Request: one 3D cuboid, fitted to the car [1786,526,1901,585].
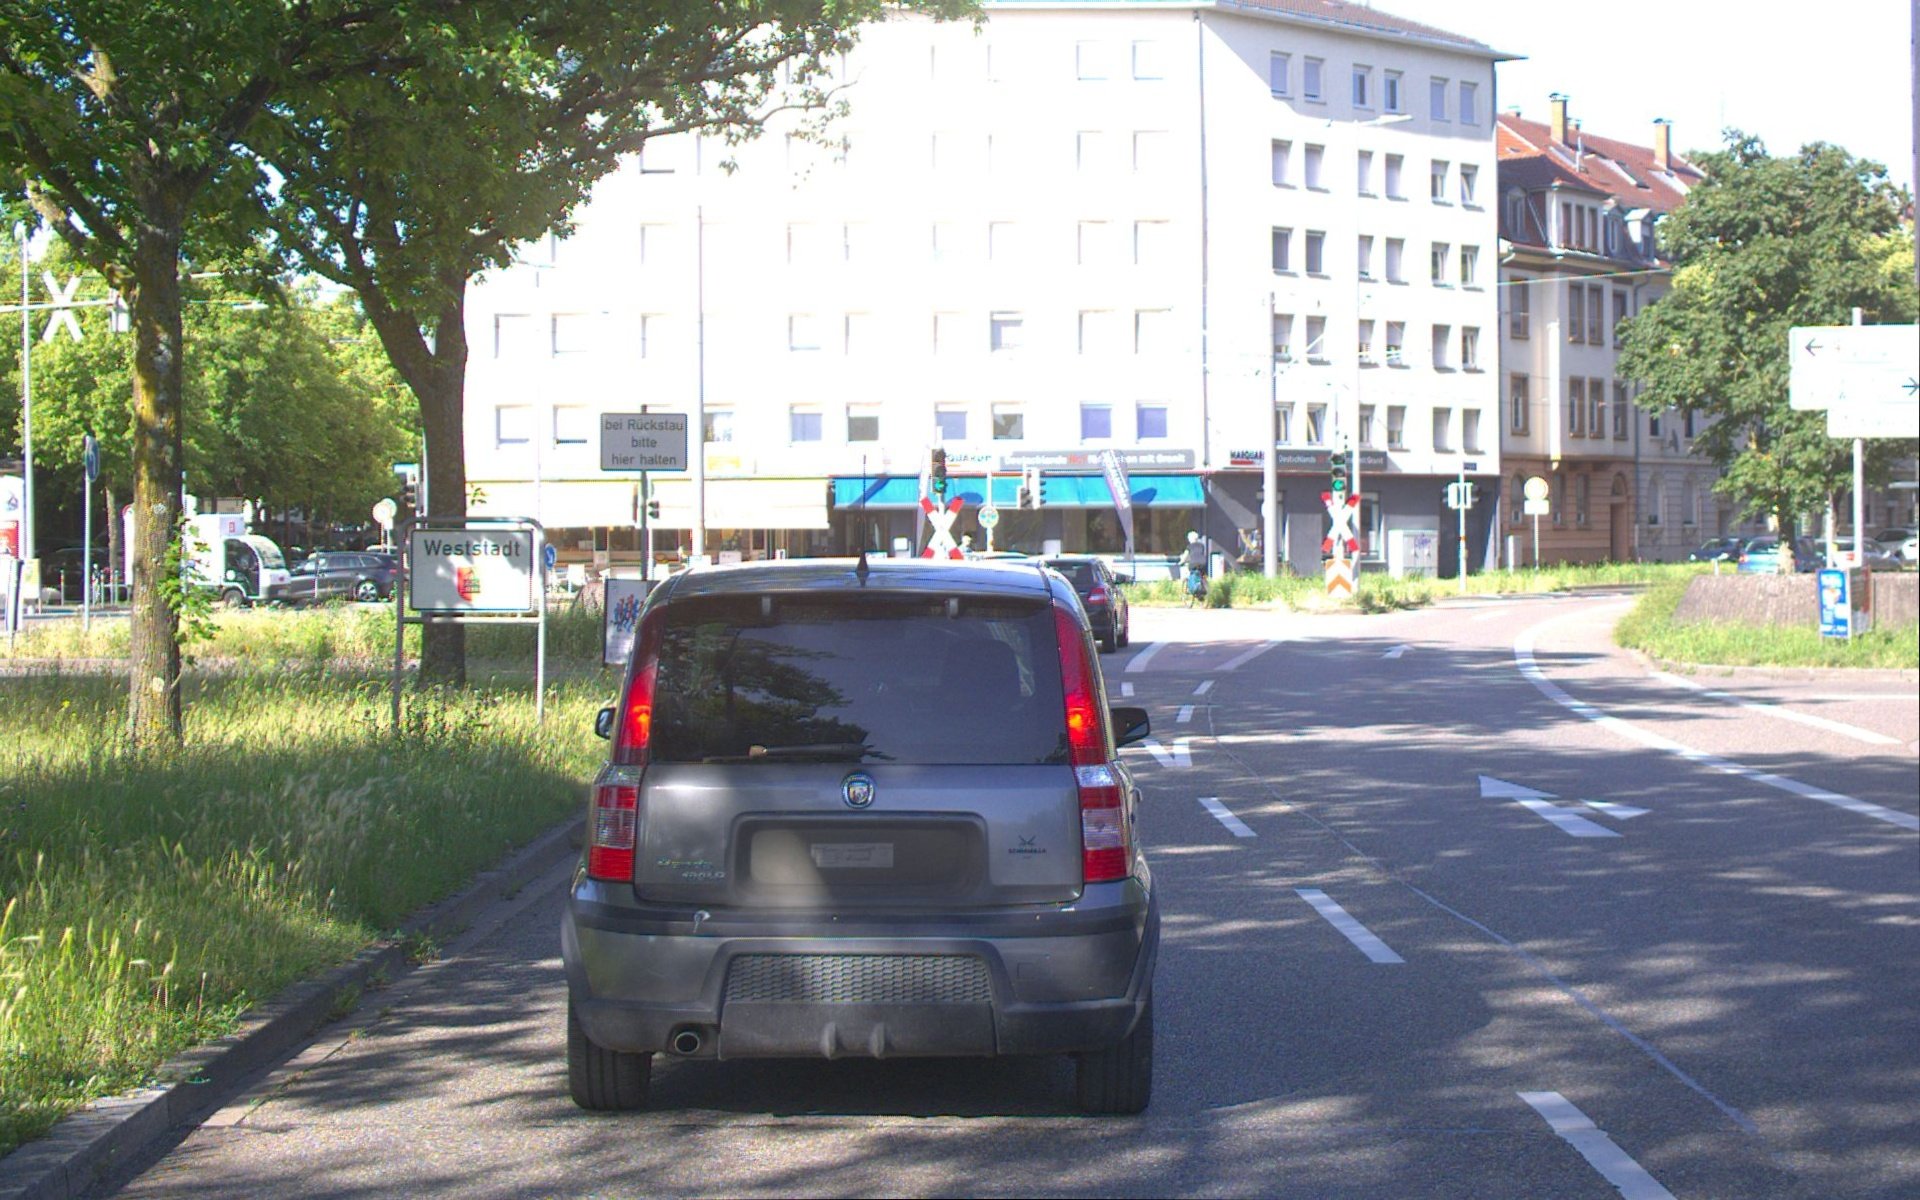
[{"bbox_3d":[23.798,-1.217,92.534,1.823,1.503,3.993,0,2,33],"label":"car"}]

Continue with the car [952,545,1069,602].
[{"bbox_3d":[1.097,-0.609,76.815,1.993,1.239,4.001,0,1,-8],"label":"car"}]

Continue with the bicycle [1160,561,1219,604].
[{"bbox_3d":[5.169,-0.393,77.481,0.782,0.948,1.857,1,0,-14],"label":"bicycle"}]

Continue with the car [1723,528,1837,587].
[{"bbox_3d":[21.099,-1.101,88.407,1.778,1.437,3.612,1,2,32],"label":"car"}]

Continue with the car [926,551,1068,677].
[{"bbox_3d":[0.462,0.139,41.730,1.646,1.433,3.396,0,1,1],"label":"car"}]

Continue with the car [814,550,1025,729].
[{"bbox_3d":[-0.435,0.304,31.376,1.760,1.481,4.294,0,1,-3],"label":"car"}]

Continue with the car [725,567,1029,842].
[{"bbox_3d":[-0.465,0.544,20.257,1.621,1.424,3.688,0,1,-1],"label":"car"}]

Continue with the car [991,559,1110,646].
[{"bbox_3d":[1.404,0.017,52.135,1.691,1.249,3.626,0,1,3],"label":"car"}]

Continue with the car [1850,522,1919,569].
[{"bbox_3d":[32.648,-1.901,119.036,1.904,1.588,4.001,-1,1,-13],"label":"car"}]

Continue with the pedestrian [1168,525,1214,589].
[{"bbox_3d":[5.200,-0.964,77.434,0.773,1.423,0.939,1,0,-14],"label":"pedestrian"}]

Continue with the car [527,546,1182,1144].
[{"bbox_3d":[-0.238,0.602,10.388,1.660,1.505,3.251,0,1,1],"label":"car"}]

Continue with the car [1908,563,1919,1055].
[{"bbox_3d":[3.776,0.662,8.798,1.674,1.498,3.562,0,1,-1],"label":"car"}]

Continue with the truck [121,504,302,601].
[{"bbox_3d":[-18.986,-1.209,87.270,4.098,2.418,1.793,0,1,12],"label":"truck"}]
